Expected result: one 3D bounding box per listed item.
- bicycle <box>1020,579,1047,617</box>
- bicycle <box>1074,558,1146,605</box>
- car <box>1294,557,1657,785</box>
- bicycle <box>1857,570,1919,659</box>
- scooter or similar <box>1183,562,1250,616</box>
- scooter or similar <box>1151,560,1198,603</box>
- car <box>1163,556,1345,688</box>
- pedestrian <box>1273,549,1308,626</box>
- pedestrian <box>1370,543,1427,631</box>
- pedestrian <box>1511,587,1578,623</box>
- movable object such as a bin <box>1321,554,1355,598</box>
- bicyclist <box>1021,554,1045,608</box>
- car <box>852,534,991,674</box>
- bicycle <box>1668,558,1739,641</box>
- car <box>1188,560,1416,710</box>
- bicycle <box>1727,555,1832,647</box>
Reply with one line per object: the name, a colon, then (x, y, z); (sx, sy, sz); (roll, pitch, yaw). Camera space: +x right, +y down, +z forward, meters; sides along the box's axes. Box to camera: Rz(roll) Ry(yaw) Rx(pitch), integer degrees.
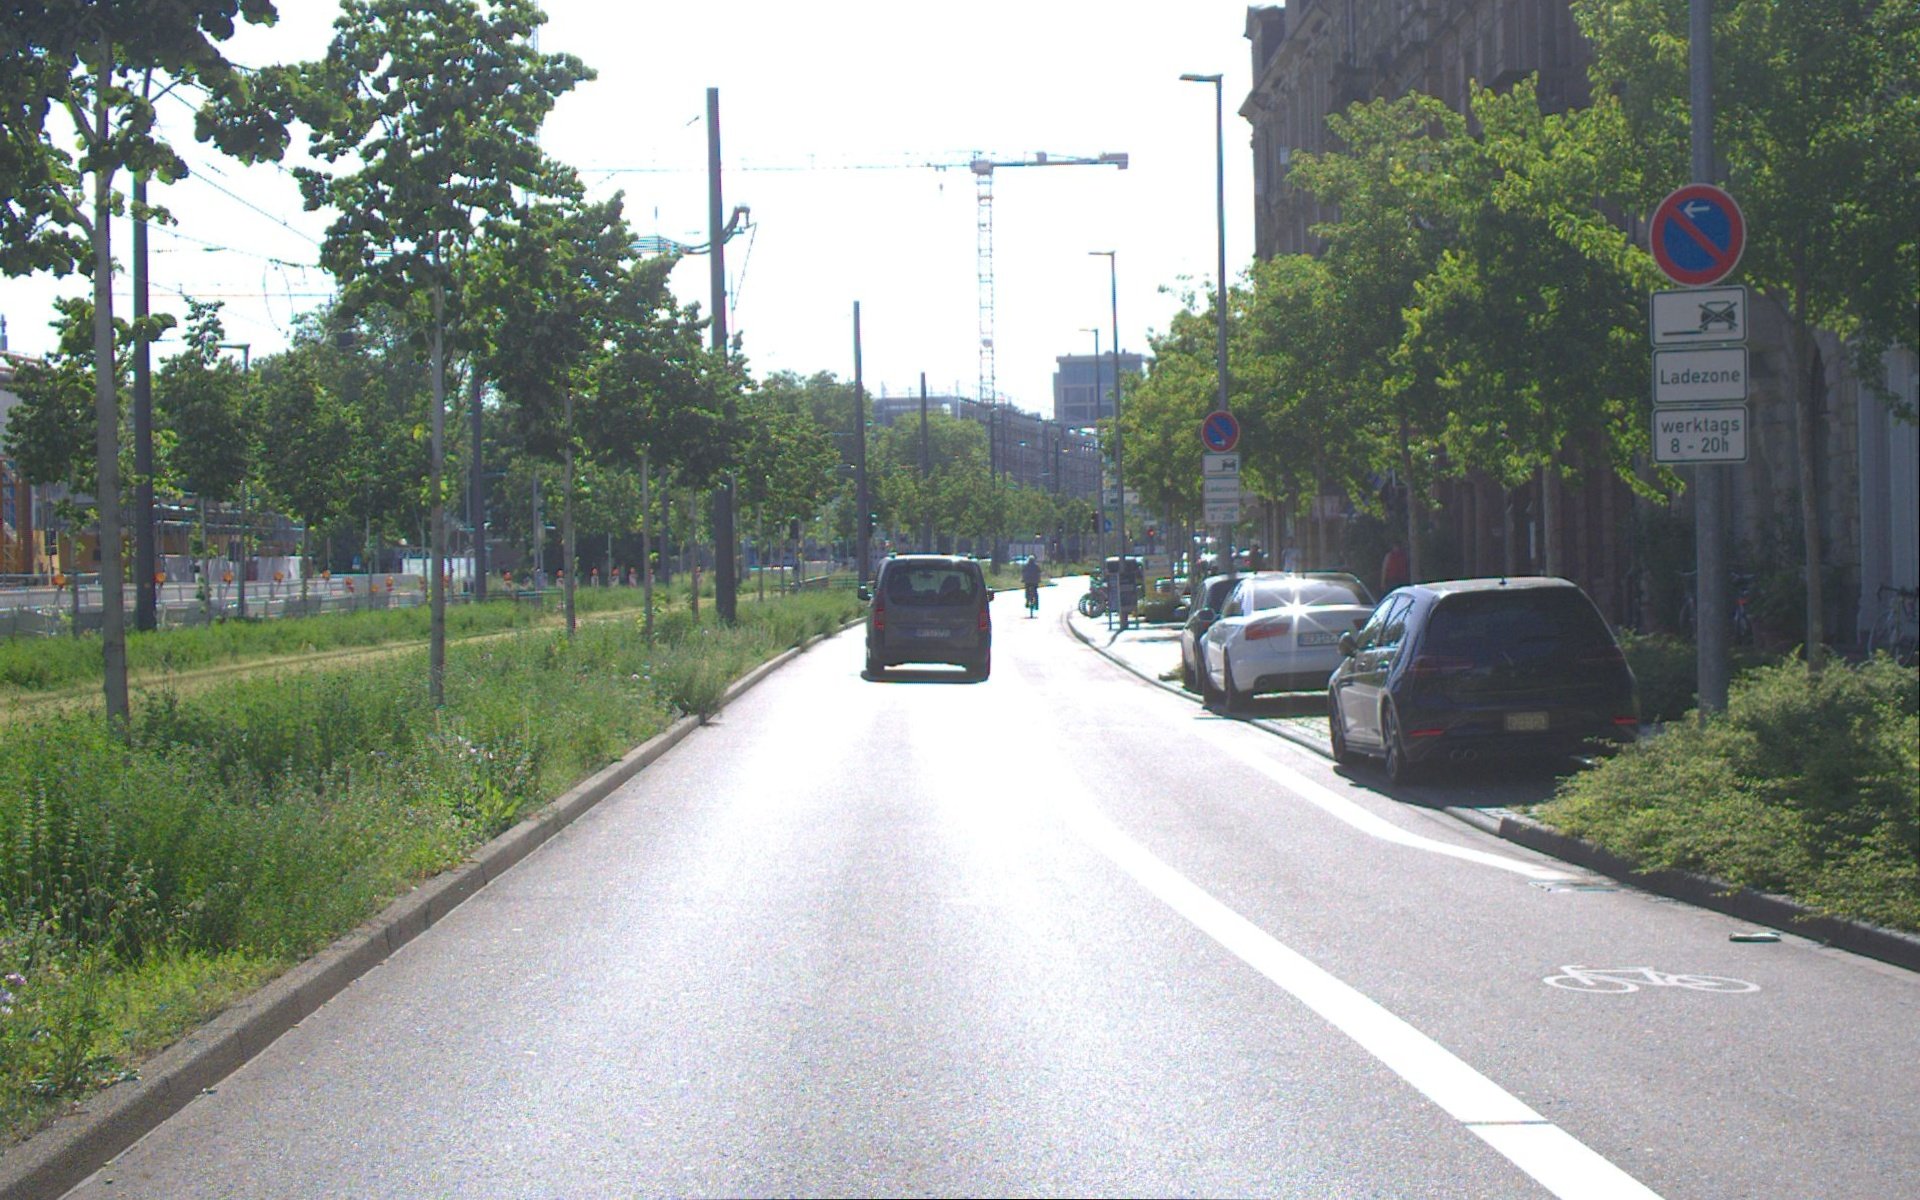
bicycle: (2.152, -0.069, 101.226); (0.701, 1.087, 2.277); (0, 1, -1)
bicycle: (4.179, -0.516, 95.956); (1.878, 1.229, 0.500); (-3, 0, -6)
car: (3.766, 0.491, 25.880); (1.765, 1.472, 4.449); (-3, 0, -3)
bicycle: (10.368, 0.148, 37.841); (0.447, 0.942, 2.013); (0, 1, -1)
scooter or similar: (6.143, -0.268, 82.365); (1.473, 1.212, 0.602); (-3, 2, -4)
scooter or similar: (5.797, -0.498, 93.104); (1.220, 1.102, 0.783); (-2, 1, 3)
car: (3.823, 0.273, 45.324); (1.884, 1.564, 4.220); (-3, 0, -1)
pedestrian: (8.708, -0.325, 90.617); (0.817, 2.007, 1.046); (0, -2, 0)
pedestrian: (8.649, -0.257, 67.887); (0.996, 1.725, 0.866); (0, 0, -1)
pedestrian: (10.052, 0.081, 59.201); (0.773, 0.551, 2.008); (-1, 1, -1)
movable object such as a bin: (9.643, -0.610, 87.725); (0.725, 1.094, 0.748); (-1, 1, -5)
bicyclist: (2.146, -0.550, 101.275); (0.683, 1.579, 0.840); (0, 1, -1)
car: (-0.579, 0.054, 51.487); (1.993, 2.007, 4.000); (0, 0, -1)
bicycle: (10.096, -0.017, 46.718); (0.481, 1.086, 2.057); (-2, 1, 0)
car: (3.752, 0.338, 38.588); (1.951, 1.490, 5.105); (-3, 1, 0)
bicycle: (10.084, -0.004, 42.373); (0.721, 1.086, 2.198); (-2, 1, 0)
